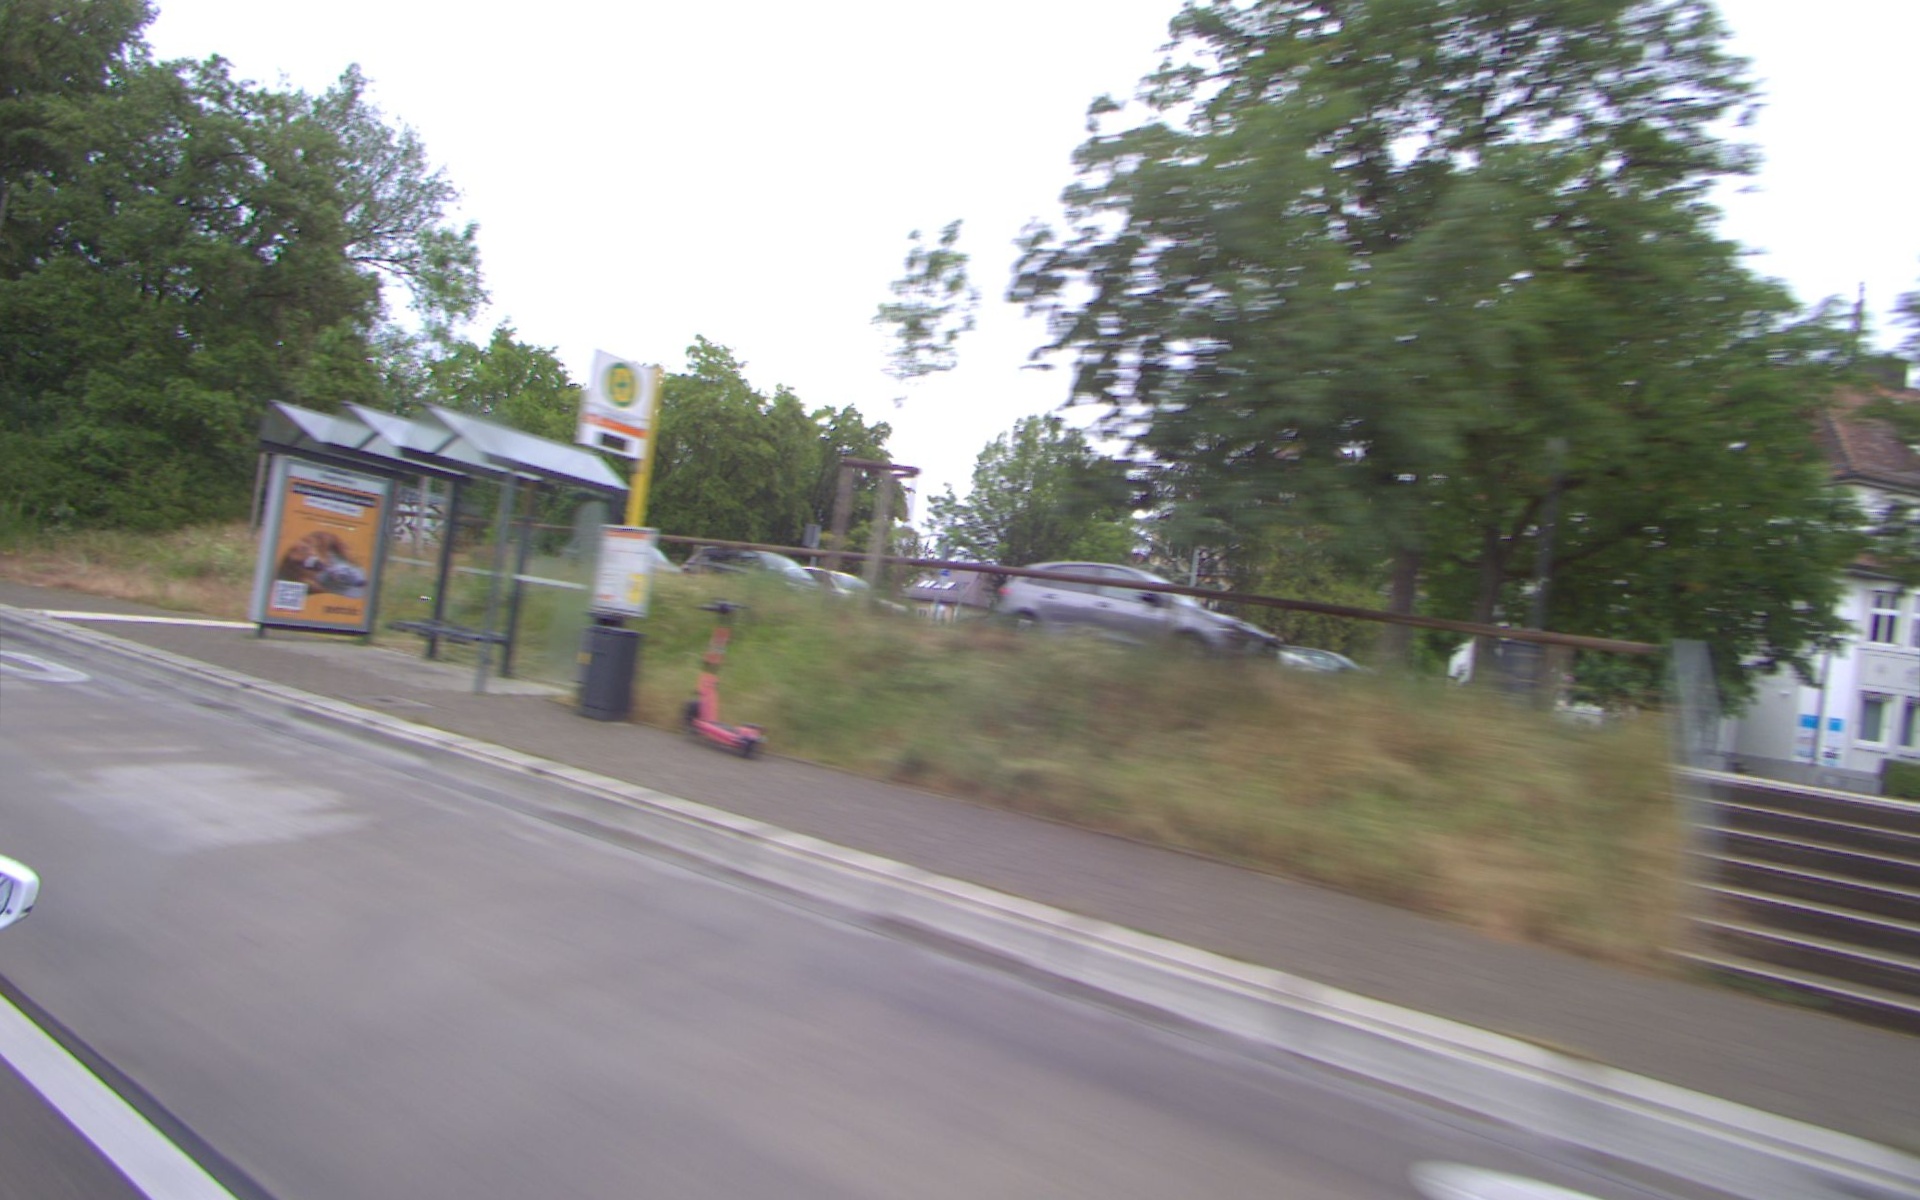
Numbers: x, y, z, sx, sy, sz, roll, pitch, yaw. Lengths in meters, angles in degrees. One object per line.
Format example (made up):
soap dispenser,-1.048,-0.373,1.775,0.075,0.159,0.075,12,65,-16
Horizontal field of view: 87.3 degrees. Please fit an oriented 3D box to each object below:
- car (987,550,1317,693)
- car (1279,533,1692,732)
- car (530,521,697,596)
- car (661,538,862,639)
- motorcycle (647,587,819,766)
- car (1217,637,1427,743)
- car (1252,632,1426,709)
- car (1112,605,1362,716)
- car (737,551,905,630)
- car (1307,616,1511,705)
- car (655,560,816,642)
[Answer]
car,2.758,0.279,14.844,4.221,1.495,1.997,5,-5,38
car,6.174,0.346,11.980,3.939,1.678,1.998,7,-5,37
car,-9.470,-1.160,27.324,4.711,1.495,1.888,5,-5,38
car,-4.714,-0.294,23.634,4.404,1.678,1.998,7,-5,37
motorcycle,-1.956,0.618,8.532,0.587,1.304,1.519,8,-1,-43
car,8.190,2.021,22.844,3.939,1.678,1.998,7,-5,37
car,10.409,1.923,27.721,4.007,1.495,1.889,5,-5,36
car,5.170,1.114,18.958,4.008,1.495,1.888,5,-5,38
car,-3.619,-0.260,25.943,4.008,1.495,1.888,5,-5,38
car,10.521,1.407,23.632,4.005,1.495,1.889,5,-4,35
car,-6.541,0.016,29.140,4.404,1.678,1.998,7,-5,37
